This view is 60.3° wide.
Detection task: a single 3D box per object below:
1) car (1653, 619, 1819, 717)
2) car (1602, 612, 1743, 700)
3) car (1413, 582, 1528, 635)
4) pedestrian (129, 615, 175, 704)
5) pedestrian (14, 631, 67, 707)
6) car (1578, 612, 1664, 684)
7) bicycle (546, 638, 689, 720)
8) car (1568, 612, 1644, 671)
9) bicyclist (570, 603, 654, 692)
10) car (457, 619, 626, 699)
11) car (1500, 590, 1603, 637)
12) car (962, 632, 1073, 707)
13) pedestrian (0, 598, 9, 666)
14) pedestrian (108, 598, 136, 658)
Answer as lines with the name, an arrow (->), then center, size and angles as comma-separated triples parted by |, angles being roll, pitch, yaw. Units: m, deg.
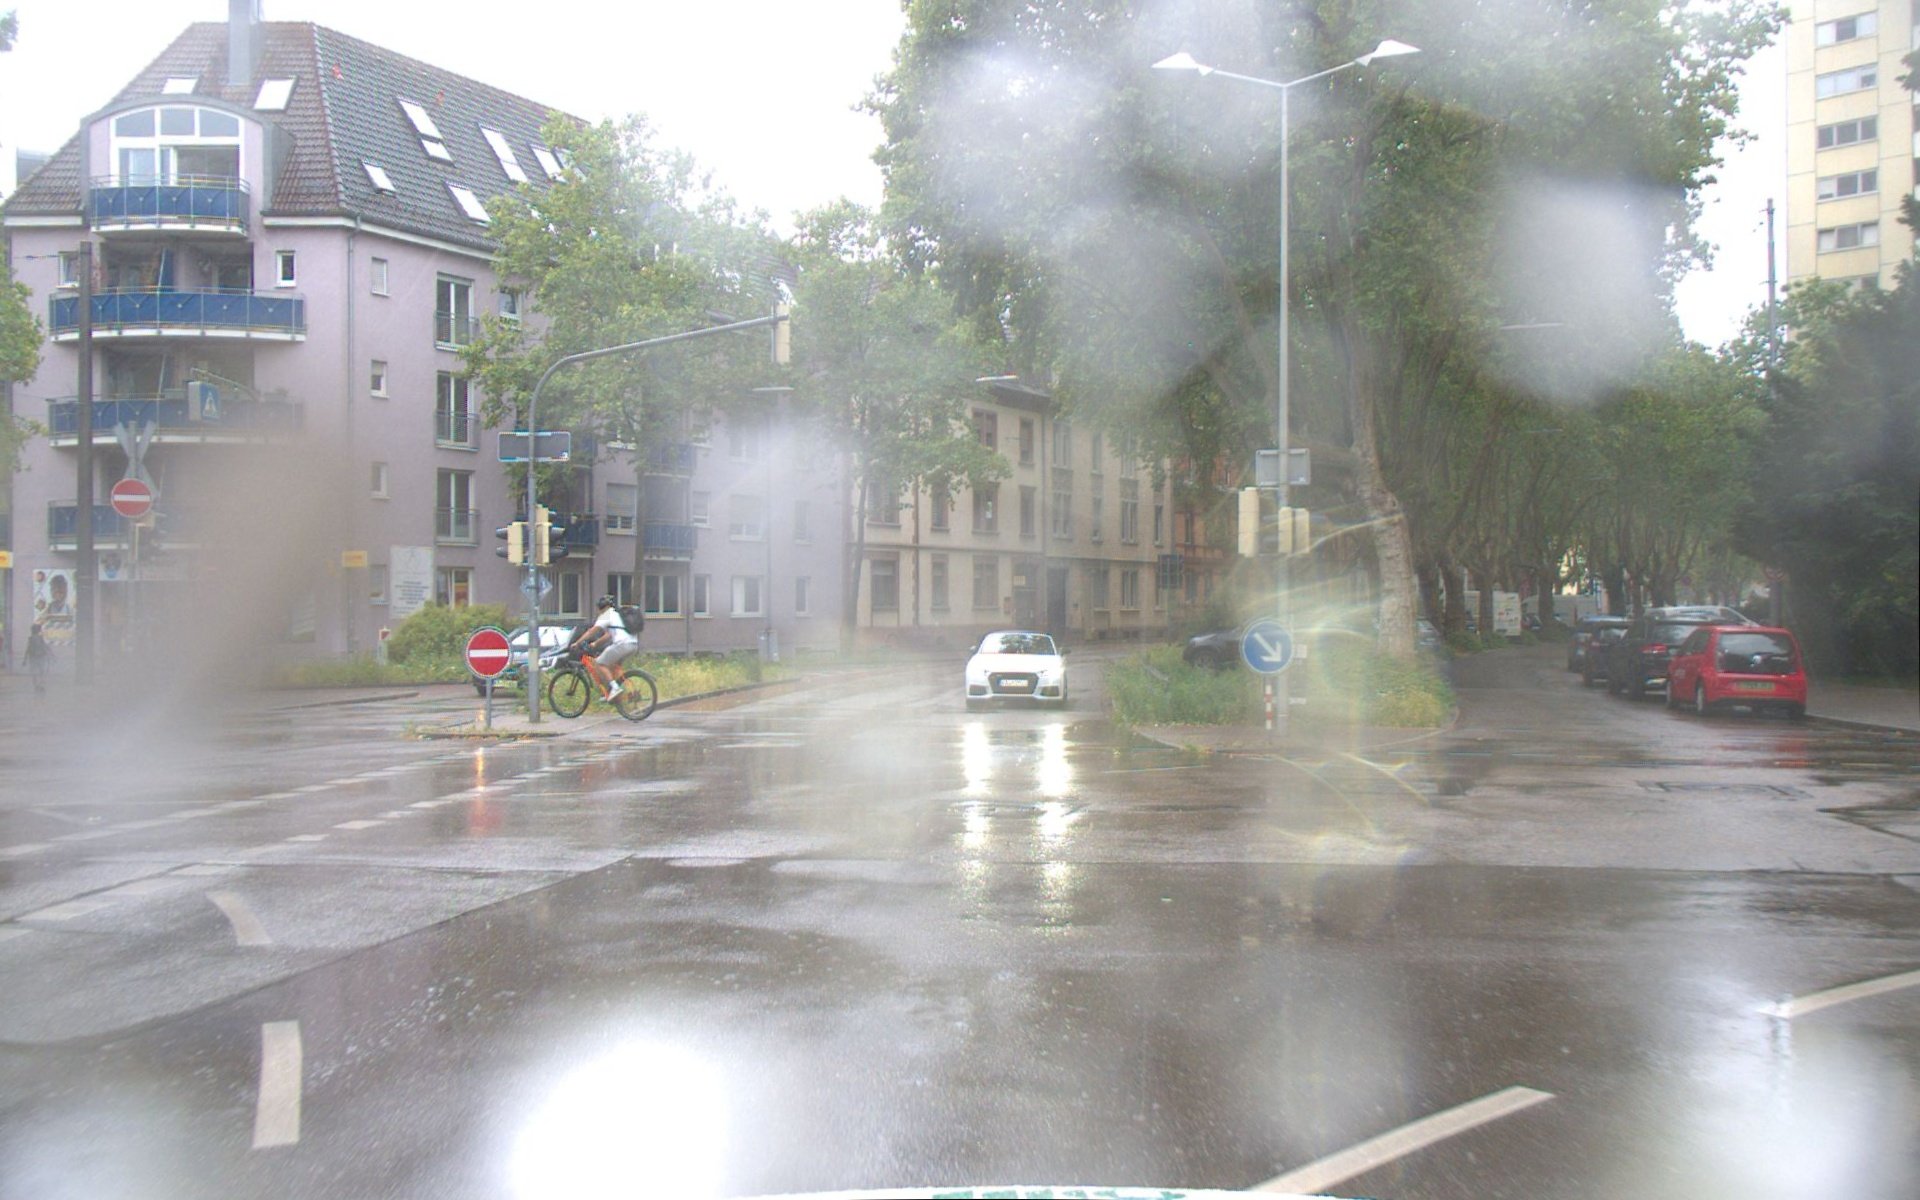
car -> 13.119, 1.104, 28.155 | 1.797, 1.551, 3.464 | 0, -1, 12
car -> 14.163, 1.067, 33.113 | 1.893, 1.636, 4.458 | 0, -1, 14
car -> 24.625, 0.433, 80.010 | 2.199, 2.443, 5.559 | 0, -1, -26
pedestrian -> -16.860, 1.234, 34.499 | 0.627, 1.835, 0.622 | 0, 0, 4
pedestrian -> -19.753, 1.468, 35.527 | 0.981, 1.586, 0.776 | 0, 0, -31
car -> 15.630, 1.105, 39.083 | 1.797, 1.624, 3.485 | 0, -1, 23
bicycle -> -5.218, 1.198, 25.243 | 1.991, 1.193, 0.753 | 0, 0, 10
car -> 18.869, 1.193, 48.424 | 1.885, 1.662, 4.001 | 0, -1, 19
bicyclist -> -5.302, 0.715, 25.244 | 1.050, 1.332, 0.743 | 0, 0, 10
car -> -8.396, 1.145, 33.590 | 1.946, 1.487, 4.180 | 0, 0, 7
car -> 34.588, 0.813, 96.864 | 1.971, 2.696, 5.917 | 0, -1, -28
car -> 1.142, 1.251, 30.983 | 1.857, 1.298, 4.174 | 0, -1, 5
pedestrian -> -26.166, 0.855, 44.134 | 0.878, 1.819, 1.160 | -1, -1, 40
pedestrian -> -22.803, 0.759, 45.004 | 0.462, 1.630, 0.593 | 0, -1, -5
